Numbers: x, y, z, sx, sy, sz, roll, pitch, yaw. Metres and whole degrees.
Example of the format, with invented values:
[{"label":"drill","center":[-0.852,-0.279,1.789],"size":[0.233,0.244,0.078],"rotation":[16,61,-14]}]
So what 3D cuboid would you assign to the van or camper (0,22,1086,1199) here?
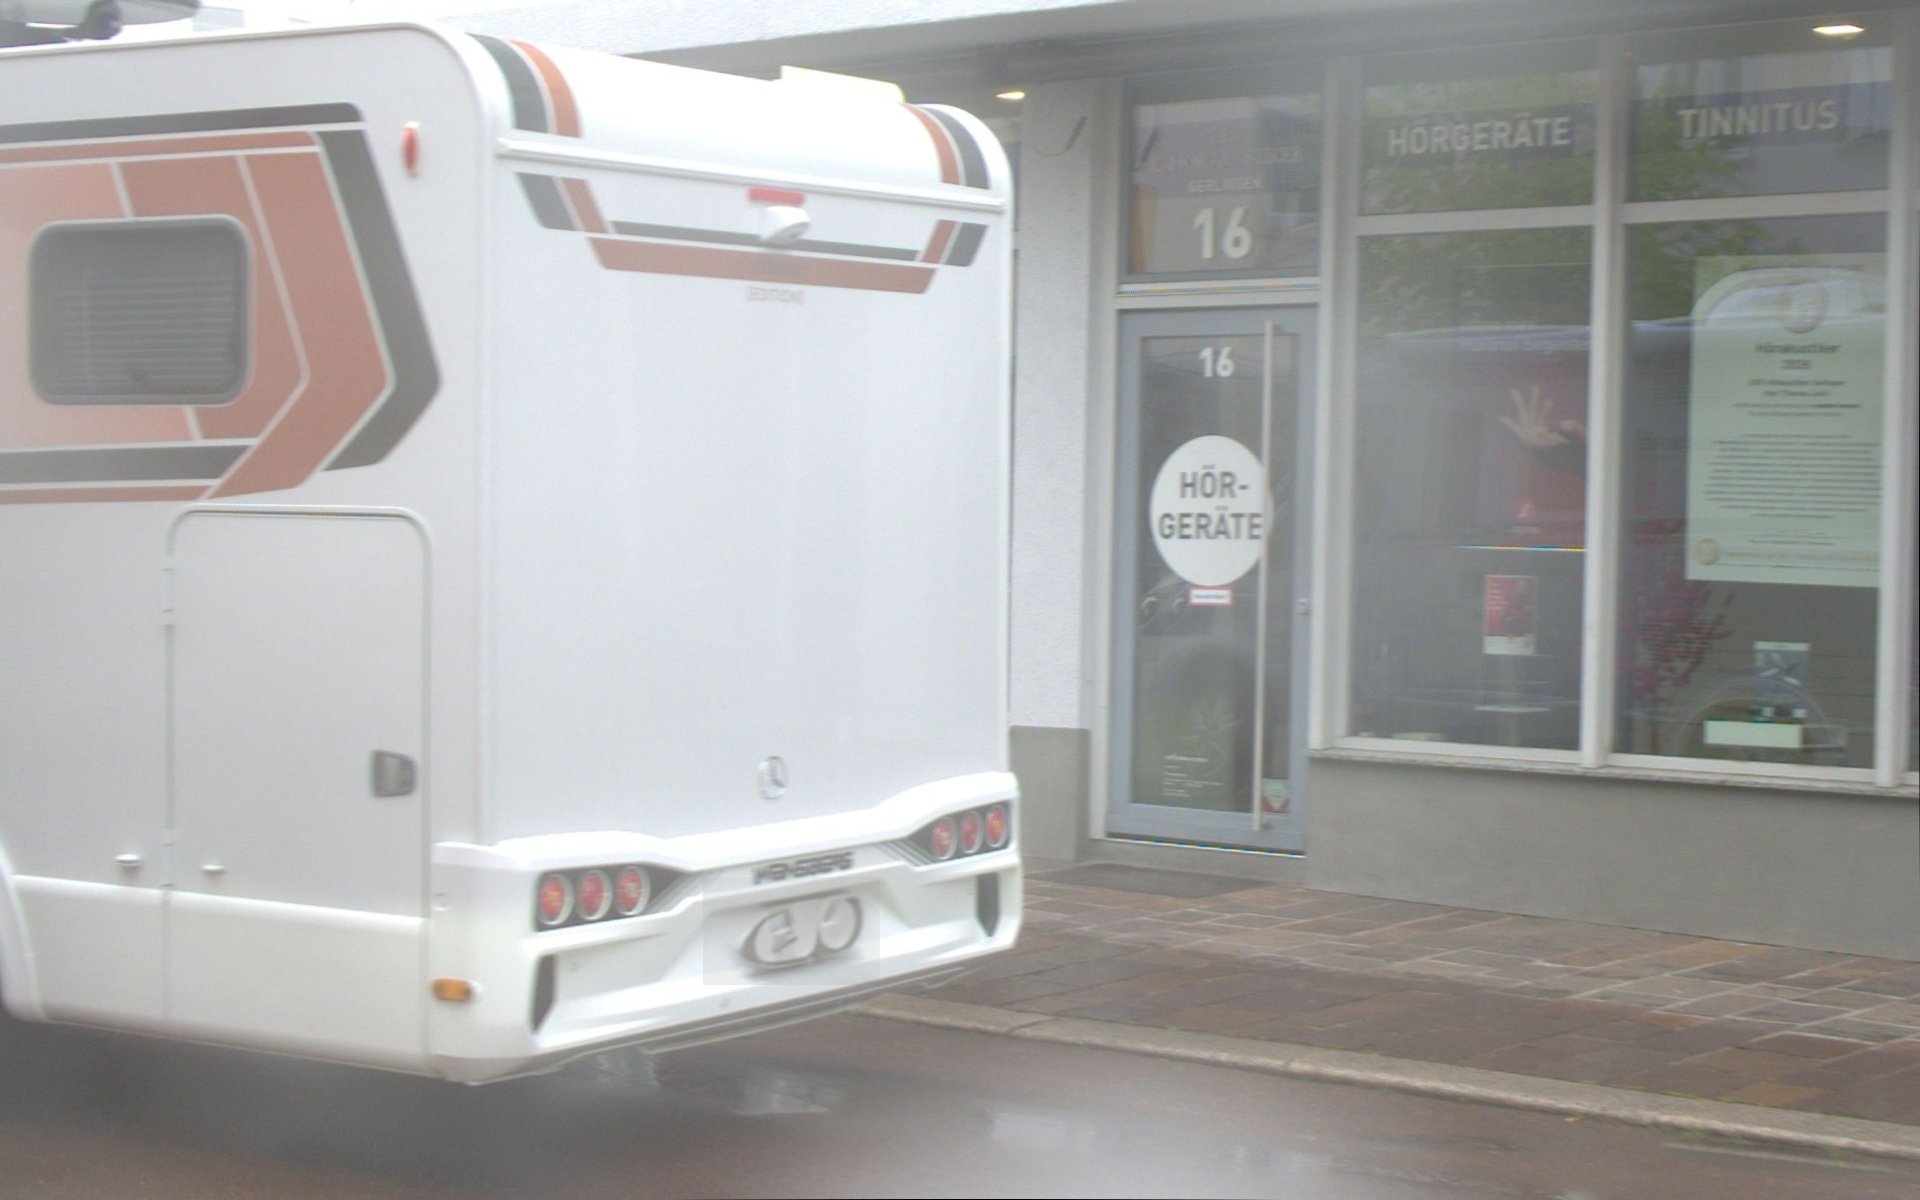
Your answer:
[{"label":"van or camper","center":[-3.192,-0.054,10.090],"size":[6.741,2.576,2.441],"rotation":[2,2,32]}]
